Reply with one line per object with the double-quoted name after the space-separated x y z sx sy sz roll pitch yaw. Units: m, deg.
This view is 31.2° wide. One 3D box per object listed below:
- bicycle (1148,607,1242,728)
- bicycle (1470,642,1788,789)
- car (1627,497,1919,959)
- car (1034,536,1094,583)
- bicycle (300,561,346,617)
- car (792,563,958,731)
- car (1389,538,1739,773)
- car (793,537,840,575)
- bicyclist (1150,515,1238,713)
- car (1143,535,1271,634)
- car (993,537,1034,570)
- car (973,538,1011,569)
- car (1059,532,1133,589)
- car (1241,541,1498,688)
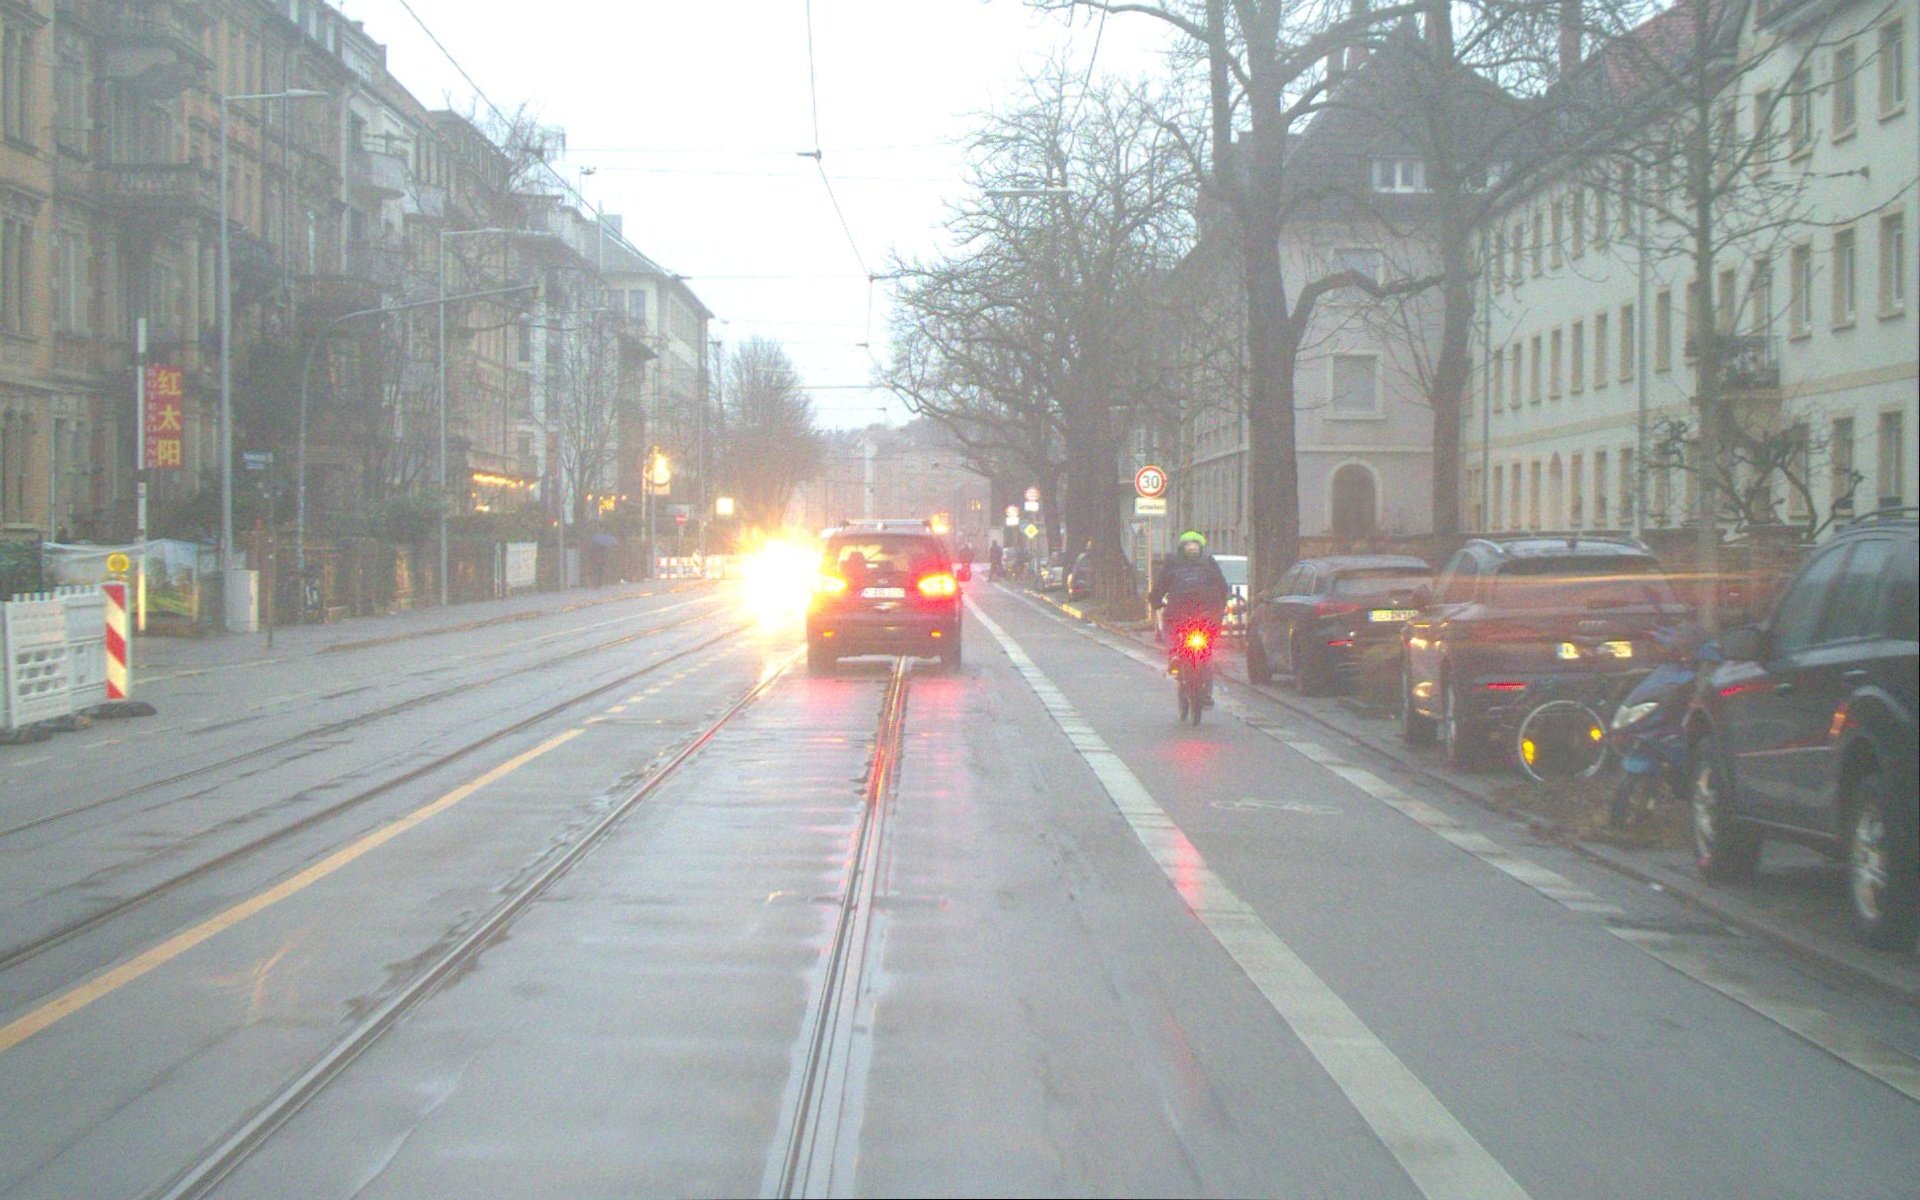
2.064 0.581 30.408 0.731 1.003 1.764 0 1 1 "bicycle"
4.372 0.756 22.547 2.014 0.913 0.464 -1 1 9 "bicycle"
4.443 0.425 15.284 1.905 1.721 4.903 0 1 -1 "car"
3.344 -1.323 111.123 1.785 1.504 4.109 0 1 0 "car"
-11.602 -0.212 62.677 0.496 1.003 1.764 0 1 1 "bicycle"
-1.002 0.530 42.375 1.802 1.864 4.018 2 1 1 "car"
4.462 0.345 26.051 1.905 1.604 4.561 0 1 1 "car"
-6.339 -1.955 152.052 1.923 1.656 4.000 0 1 -1 "car"
2.060 0.117 30.383 0.730 1.730 0.765 0 1 1 "bicyclist"
3.913 -0.273 55.038 1.785 1.504 4.108 0 1 1 "car"
2.431 -2.130 156.673 1.785 1.504 4.109 0 1 0 "car"
1.581 -2.302 169.952 1.785 1.504 4.109 0 1 0 "car"
3.660 -1.078 93.097 1.785 1.504 4.109 0 1 0 "car"
4.328 0.106 36.985 1.878 1.415 4.345 -2 1 -5 "car"
